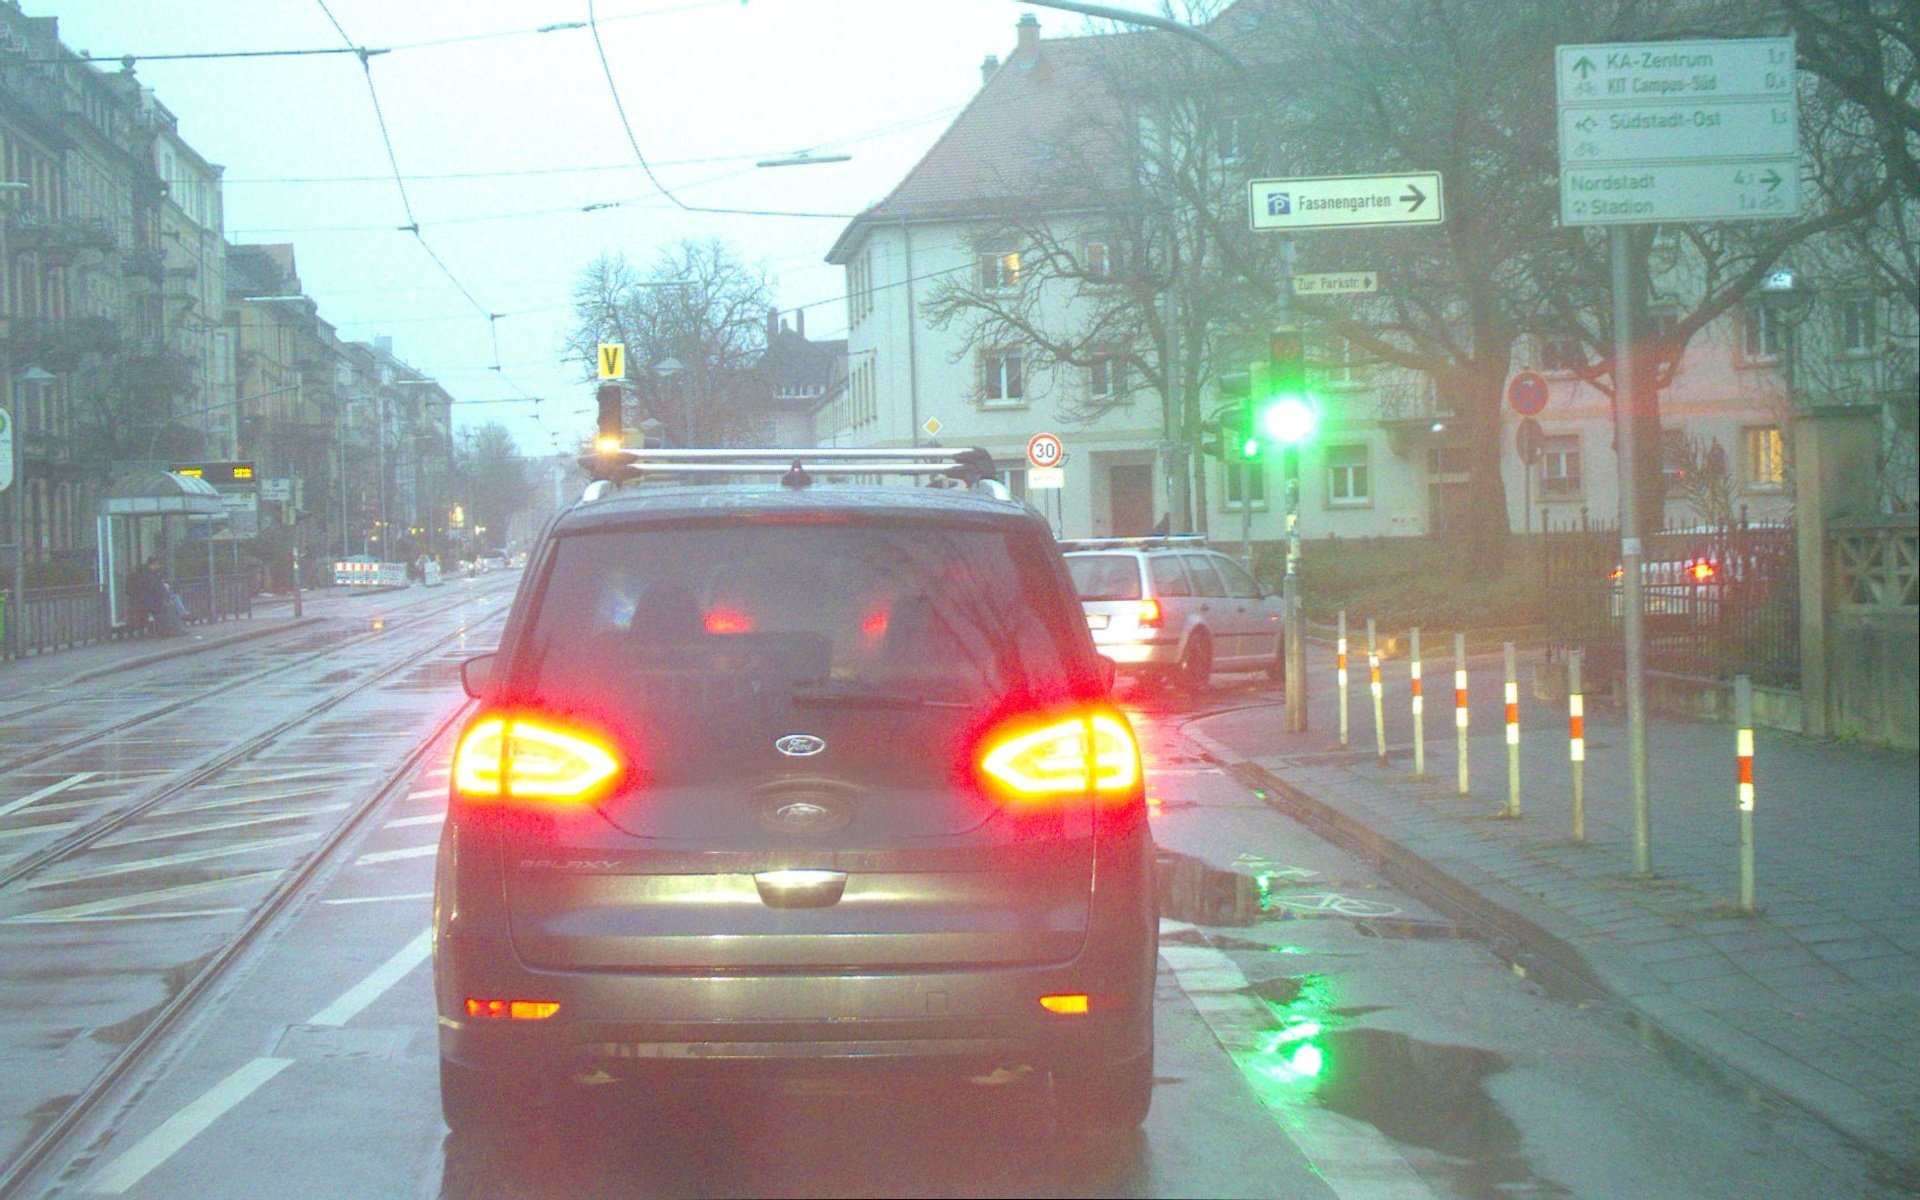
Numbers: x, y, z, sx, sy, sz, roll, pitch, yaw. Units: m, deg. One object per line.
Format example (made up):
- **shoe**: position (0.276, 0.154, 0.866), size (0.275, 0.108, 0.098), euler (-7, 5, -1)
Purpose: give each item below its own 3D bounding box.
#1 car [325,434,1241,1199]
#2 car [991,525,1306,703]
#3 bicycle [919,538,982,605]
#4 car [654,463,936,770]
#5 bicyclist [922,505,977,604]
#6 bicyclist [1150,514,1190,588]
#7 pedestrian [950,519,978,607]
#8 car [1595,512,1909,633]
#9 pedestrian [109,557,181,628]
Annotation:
- **car**: position (-0.533, 0.491, 10.269), size (2.103, 1.810, 4.661), euler (0, 1, -3)
- **car**: position (1.945, 0.113, 34.219), size (1.711, 1.656, 3.994), euler (-1, 0, 26)
- **bicycle**: position (-0.170, -0.495, 59.052), size (0.716, 1.108, 1.942), euler (2, 1, -10)
- **car**: position (-1.272, 0.095, 24.838), size (1.708, 2.007, 4.300), euler (-1, 0, -7)
- **bicyclist**: position (-0.190, -0.783, 59.237), size (0.716, 1.657, 1.057), euler (2, 0, -9)
- **bicyclist**: position (5.467, -1.283, 89.443), size (0.808, 1.912, 0.707), euler (-1, 1, 27)
- **pedestrian**: position (0.087, -0.843, 78.456), size (0.596, 2.007, 0.631), euler (-1, 0, -1)
- **car**: position (9.749, -0.355, 42.196), size (3.988, 1.371, 1.669), euler (-2, 1, -40)
- **pedestrian**: position (-13.884, -0.128, 58.578), size (1.047, 1.196, 0.885), euler (-1, 0, -4)
